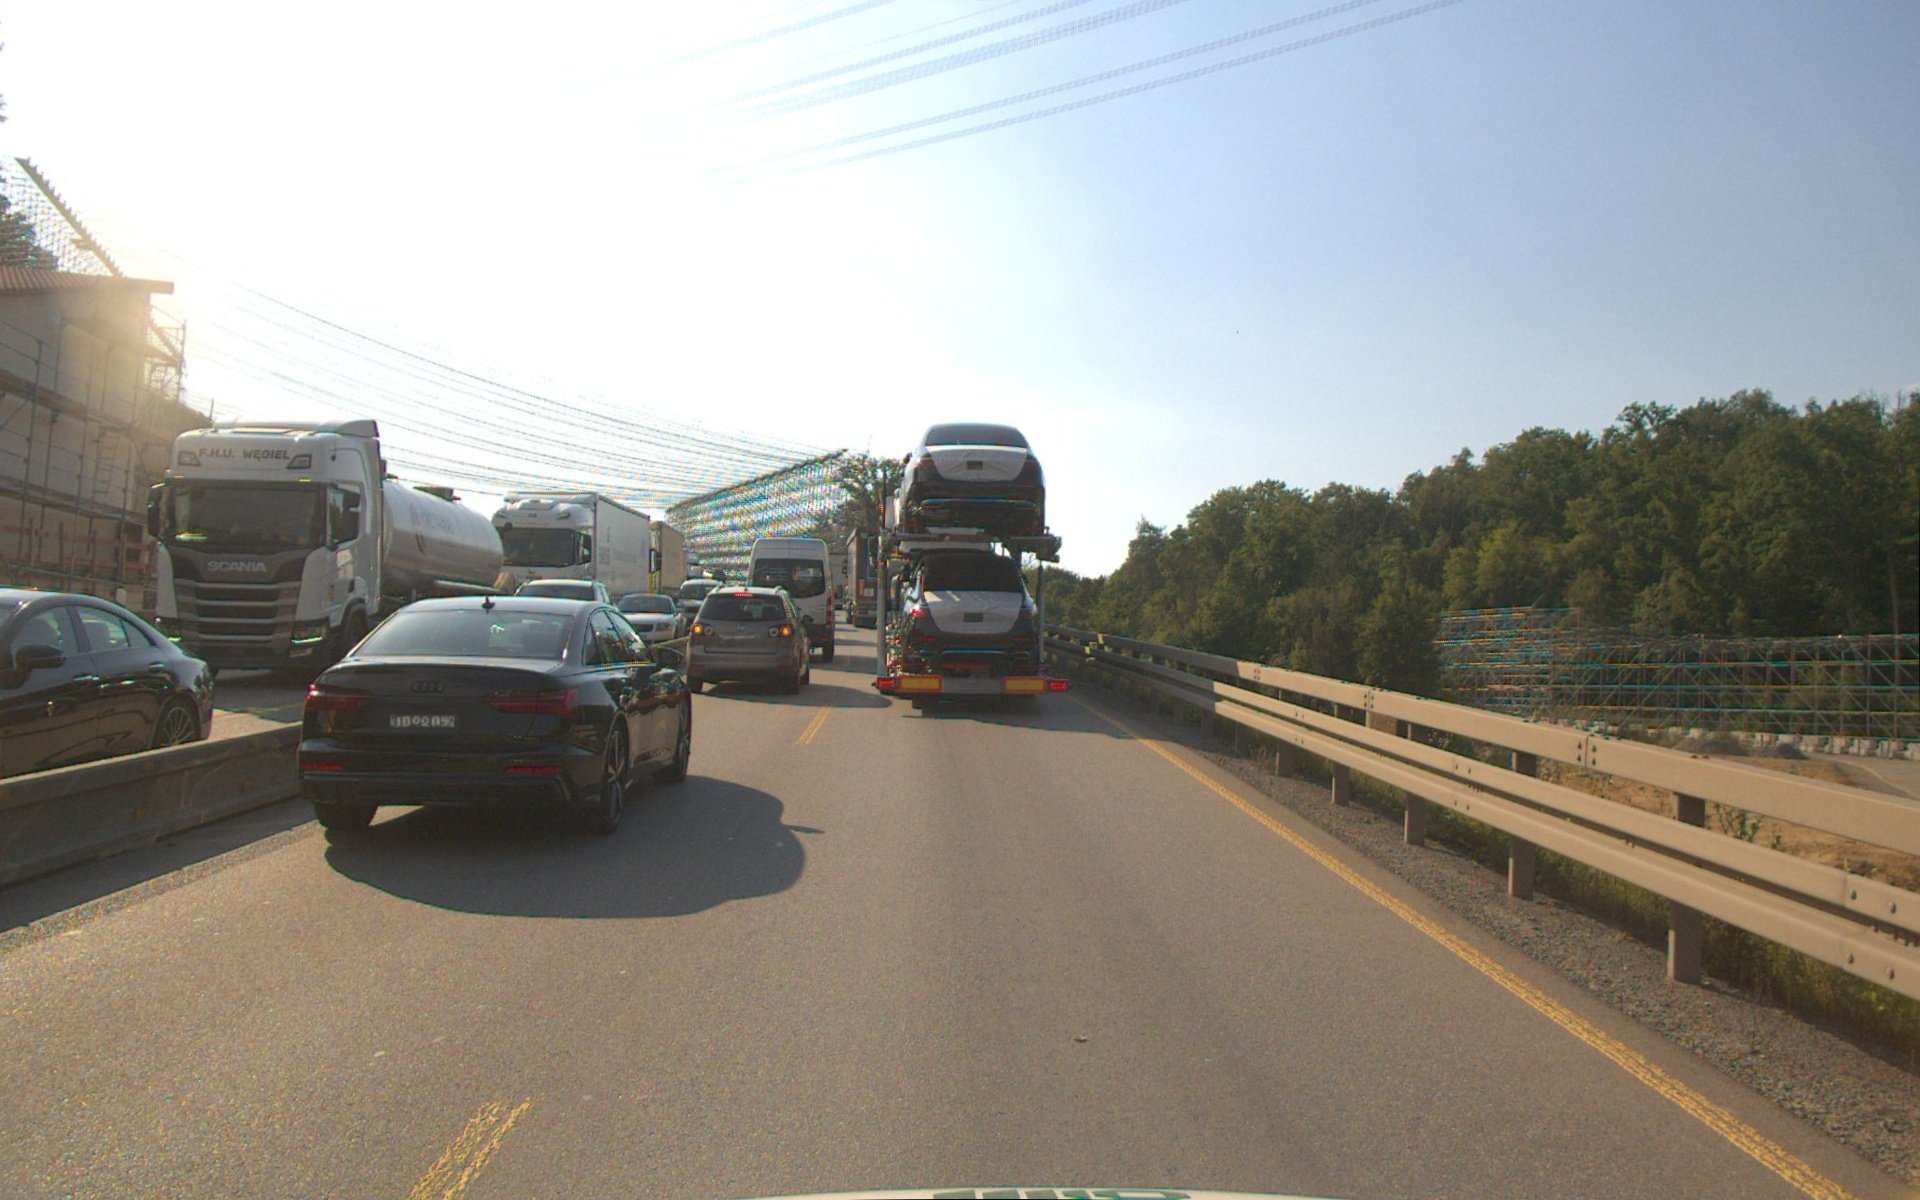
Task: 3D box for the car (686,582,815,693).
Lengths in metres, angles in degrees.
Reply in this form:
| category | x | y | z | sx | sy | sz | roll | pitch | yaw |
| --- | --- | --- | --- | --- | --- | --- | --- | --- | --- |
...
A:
| category | x | y | z | sx | sy | sz | roll | pitch | yaw |
| --- | --- | --- | --- | --- | --- | --- | --- | --- | --- |
| car | -3.243 | 0.580 | 26.264 | 1.666 | 1.615 | 4.145 | 0 | -1 | -2 |

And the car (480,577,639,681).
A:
| category | x | y | z | sx | sy | sz | roll | pitch | yaw |
| --- | --- | --- | --- | --- | --- | --- | --- | --- | --- |
| car | -6.948 | 0.496 | 29.133 | 1.809 | 1.676 | 4.558 | 0 | -1 | -2 |

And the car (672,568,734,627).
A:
| category | x | y | z | sx | sy | sz | roll | pitch | yaw |
| --- | --- | --- | --- | --- | --- | --- | --- | --- | --- |
| car | -9.022 | -0.108 | 58.453 | 1.797 | 1.950 | 4.860 | 1 | 1 | -5 |

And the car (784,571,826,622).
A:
| category | x | y | z | sx | sy | sz | roll | pitch | yaw |
| --- | --- | --- | --- | --- | --- | --- | --- | --- | --- |
| car | -6.361 | -0.117 | 67.622 | 1.636 | 2.019 | 3.812 | 0 | -1 | -7 |

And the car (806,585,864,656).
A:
| category | x | y | z | sx | sy | sz | roll | pitch | yaw |
| --- | --- | --- | --- | --- | --- | --- | --- | --- | --- |
| car | -3.724 | 0.627 | 49.183 | 1.635 | 2.019 | 3.814 | 0 | -1 | -5 |

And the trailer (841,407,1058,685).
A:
| category | x | y | z | sx | sy | sz | roll | pitch | yaw |
| --- | --- | --- | --- | --- | --- | --- | --- | --- | --- |
| trailer | -0.686 | -0.666 | 31.902 | 2.819 | 4.064 | 15.260 | 0 | -1 | -6 |

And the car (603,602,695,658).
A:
| category | x | y | z | sx | sy | sz | roll | pitch | yaw |
| --- | --- | --- | --- | --- | --- | --- | --- | --- | --- |
| car | -7.489 | 0.720 | 40.149 | 1.677 | 1.274 | 4.048 | 0 | -1 | -3 |

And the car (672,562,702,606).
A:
| category | x | y | z | sx | sy | sz | roll | pitch | yaw |
| --- | --- | --- | --- | --- | --- | --- | --- | --- | --- |
| car | -17.998 | -1.041 | 109.116 | 1.636 | 2.813 | 4.953 | 1 | 0 | -6 |

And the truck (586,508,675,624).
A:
| category | x | y | z | sx | sy | sz | roll | pitch | yaw |
| --- | --- | --- | --- | --- | --- | --- | --- | --- | --- |
| truck | -12.860 | -1.240 | 65.042 | 2.837 | 4.347 | 5.764 | 0 | -1 | -6 |

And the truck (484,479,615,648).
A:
| category | x | y | z | sx | sy | sz | roll | pitch | yaw |
| --- | --- | --- | --- | --- | --- | --- | --- | --- | --- |
| truck | -11.231 | -0.884 | 45.813 | 2.395 | 4.347 | 6.316 | 0 | -1 | -4 |

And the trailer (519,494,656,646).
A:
| category | x | y | z | sx | sy | sz | roll | pitch | yaw |
| --- | --- | --- | --- | --- | --- | --- | --- | --- | --- |
| trailer | -11.717 | -0.750 | 53.192 | 2.404 | 4.340 | 12.135 | 0 | -1 | -4 |

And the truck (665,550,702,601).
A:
| category | x | y | z | sx | sy | sz | roll | pitch | yaw |
| --- | --- | --- | --- | --- | --- | --- | --- | --- | --- |
| truck | -23.205 | -2.033 | 139.198 | 2.591 | 4.065 | 9.017 | 1 | 1 | -6 |

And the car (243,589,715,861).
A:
| category | x | y | z | sx | sy | sz | roll | pitch | yaw |
| --- | --- | --- | --- | --- | --- | --- | --- | --- | --- |
| car | -3.079 | 0.726 | 11.883 | 1.901 | 1.506 | 5.221 | 0 | -1 | -1 |

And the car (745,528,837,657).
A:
| category | x | y | z | sx | sy | sz | roll | pitch | yaw |
| --- | --- | --- | --- | --- | --- | --- | --- | --- | --- |
| car | -3.756 | -0.129 | 37.096 | 1.941 | 2.731 | 4.142 | 0 | -1 | -5 |

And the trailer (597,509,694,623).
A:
| category | x | y | z | sx | sy | sz | roll | pitch | yaw |
| --- | --- | --- | --- | --- | --- | --- | --- | --- | --- |
| trailer | -13.547 | -1.229 | 72.408 | 2.837 | 4.471 | 14.361 | 0 | -1 | -6 |

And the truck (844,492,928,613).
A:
| category | x | y | z | sx | sy | sz | roll | pitch | yaw |
| --- | --- | --- | --- | --- | --- | --- | --- | --- | --- |
| truck | -3.337 | -1.958 | 71.441 | 3.165 | 4.758 | 11.684 | 1 | 1 | -4 |

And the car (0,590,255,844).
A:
| category | x | y | z | sx | sy | sz | roll | pitch | yaw |
| --- | --- | --- | --- | --- | --- | --- | --- | --- | --- |
| car | -6.268 | 0.674 | 10.326 | 1.704 | 1.427 | 4.901 | 0 | -1 | -1 |

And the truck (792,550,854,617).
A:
| category | x | y | z | sx | sy | sz | roll | pitch | yaw |
| --- | --- | --- | --- | --- | --- | --- | --- | --- | --- |
| truck | -10.428 | -1.254 | 124.572 | 3.582 | 4.758 | 11.668 | 1 | 1 | -10 |

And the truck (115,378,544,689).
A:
| category | x | y | z | sx | sy | sz | roll | pitch | yaw |
| --- | --- | --- | --- | --- | --- | --- | --- | --- | --- |
| truck | -10.284 | -0.838 | 29.370 | 2.753 | 4.039 | 13.884 | 4 | -1 | -3 |

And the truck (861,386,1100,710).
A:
| category | x | y | z | sx | sy | sz | roll | pitch | yaw |
| --- | --- | --- | --- | --- | --- | --- | --- | --- | --- |
| truck | 0.101 | -0.604 | 23.663 | 2.814 | 4.050 | 5.764 | 0 | -1 | -6 |
